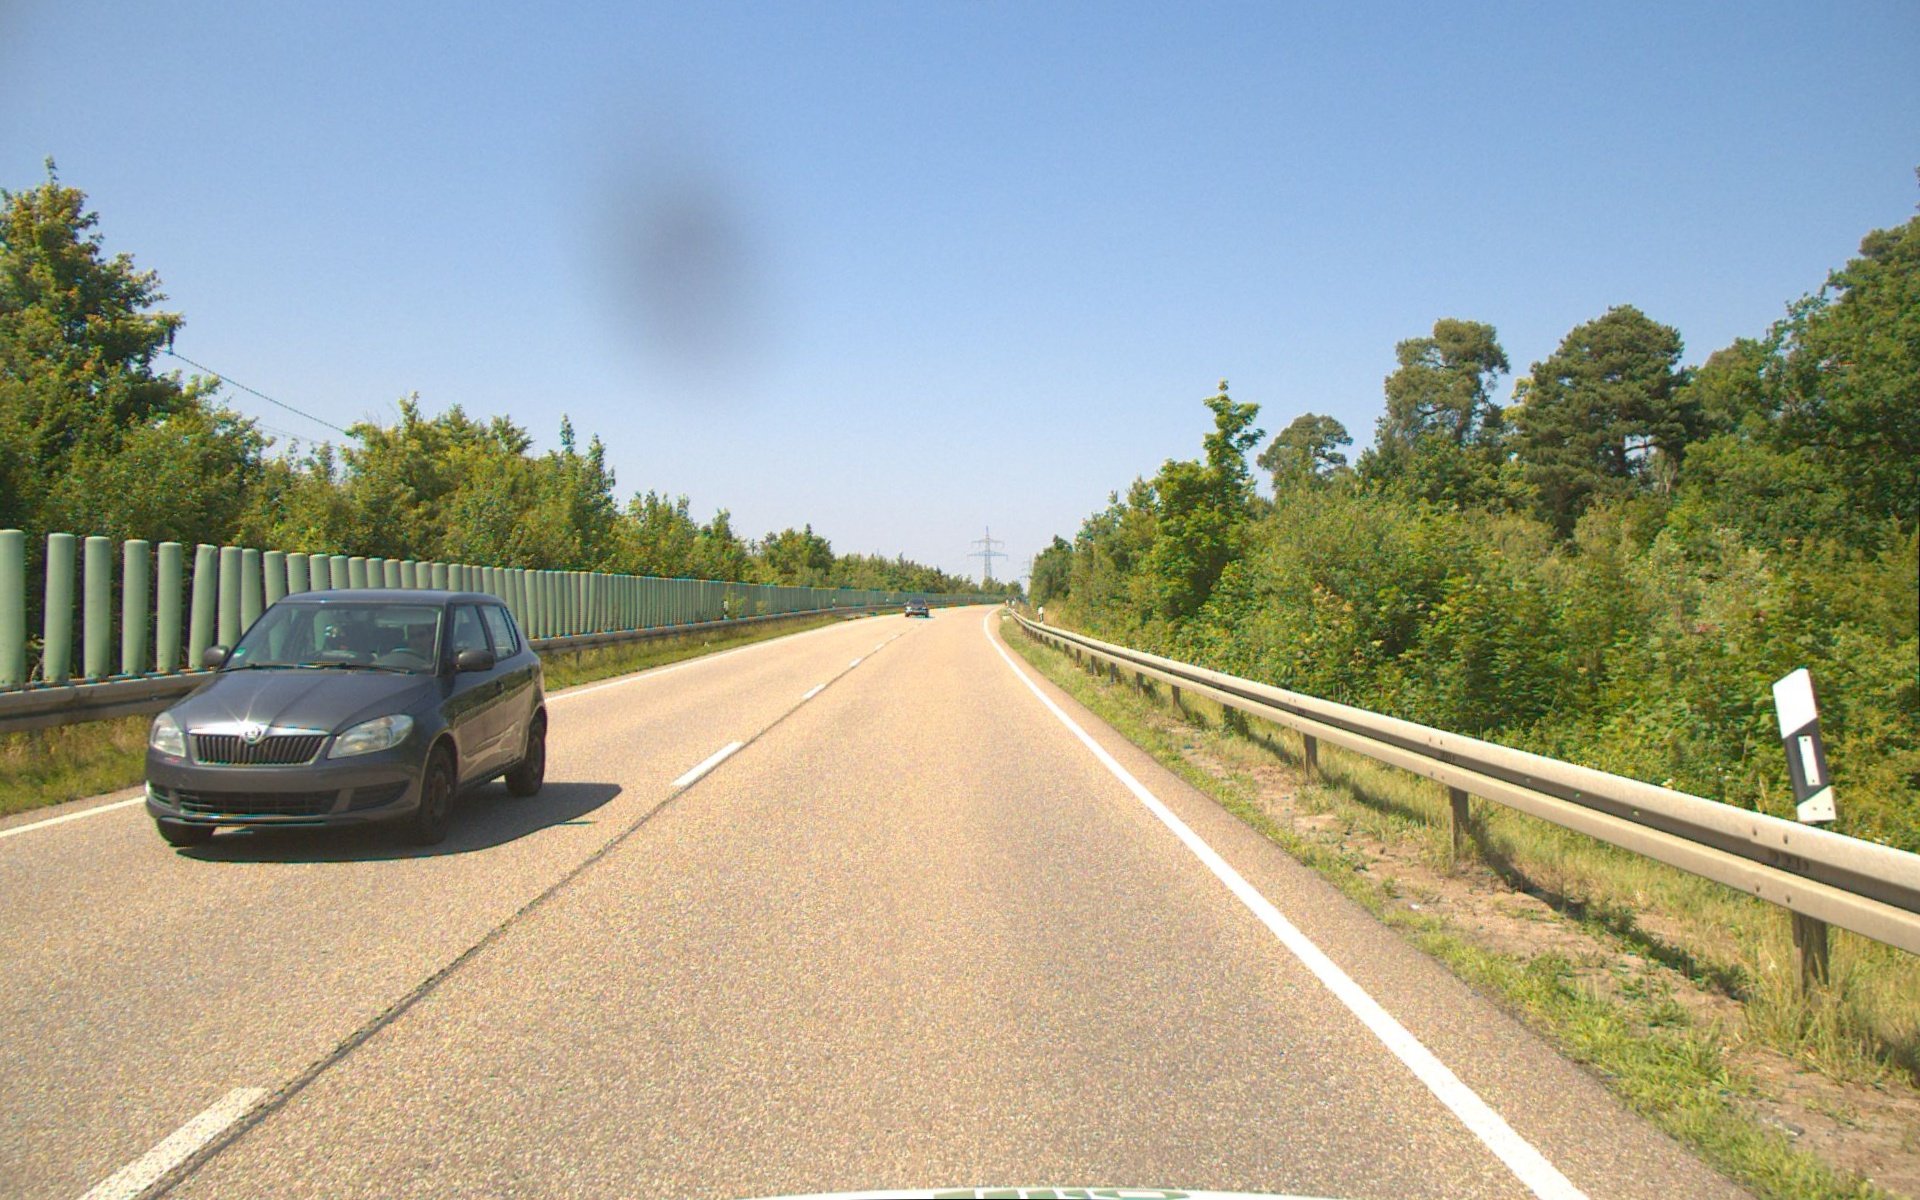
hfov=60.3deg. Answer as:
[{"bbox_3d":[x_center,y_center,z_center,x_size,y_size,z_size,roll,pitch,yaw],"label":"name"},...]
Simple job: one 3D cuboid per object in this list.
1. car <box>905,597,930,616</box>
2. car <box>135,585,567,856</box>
[{"bbox_3d":[-3.244,0.488,126.358,1.750,1.395,3.897,1,0,0],"label":"car"},{"bbox_3d":[-3.833,0.668,11.069,1.615,1.505,3.675,0,0,-2],"label":"car"}]
